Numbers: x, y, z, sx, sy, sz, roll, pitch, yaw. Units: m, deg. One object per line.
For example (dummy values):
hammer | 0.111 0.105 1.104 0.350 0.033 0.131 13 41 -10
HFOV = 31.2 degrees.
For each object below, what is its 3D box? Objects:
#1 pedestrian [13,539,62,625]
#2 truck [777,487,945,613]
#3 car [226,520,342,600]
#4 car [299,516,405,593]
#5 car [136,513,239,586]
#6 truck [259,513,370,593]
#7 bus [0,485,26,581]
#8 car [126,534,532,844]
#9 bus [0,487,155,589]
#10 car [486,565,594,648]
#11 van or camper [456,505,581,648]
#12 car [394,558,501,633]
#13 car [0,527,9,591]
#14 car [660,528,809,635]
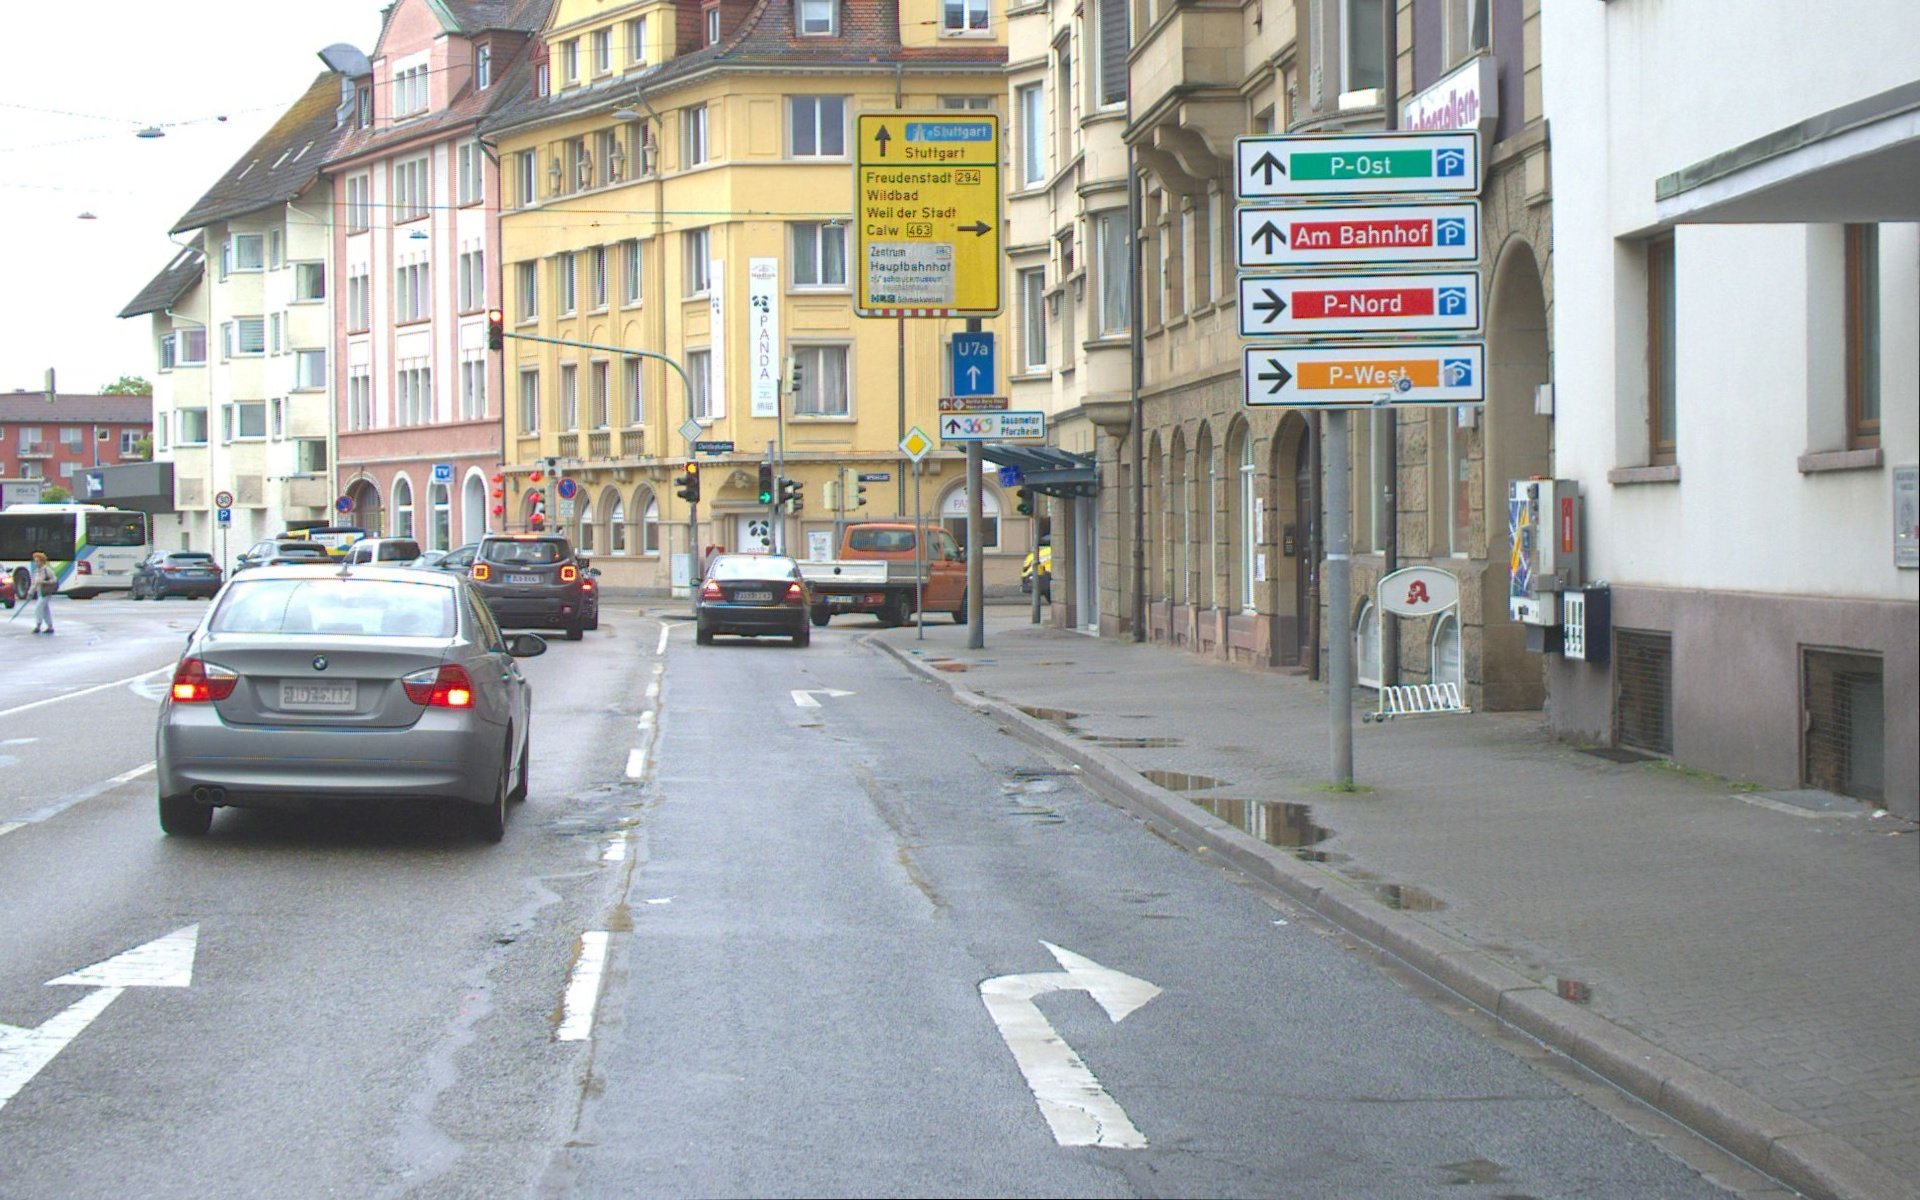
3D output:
pedestrian | -16.663 -0.321 62.105 0.760 1.524 0.508 1 0 -25
truck | -1.790 -0.940 64.084 2.225 2.242 5.061 1 1 9
car | -17.485 -1.044 88.773 1.993 2.007 4.001 -1 1 -26
car | -18.047 -1.364 101.931 1.761 2.173 4.000 2 0 -30
car | -22.144 -1.453 98.419 1.993 2.007 4.001 -1 1 -26
truck | -20.219 -1.489 107.579 2.026 2.381 4.237 2 0 -30
bus | -35.135 -2.123 112.508 8.853 3.094 2.915 0 1 23
car | -3.309 0.393 18.758 1.799 1.459 4.372 1 1 -6
bus | -29.246 -1.944 108.569 9.137 3.094 2.911 1 2 44
car | -7.433 0.099 60.586 1.802 1.401 4.685 0 0 -8
van or camper | -6.898 -0.394 53.677 1.854 2.139 4.144 0 1 -8
car | -12.844 -0.136 86.348 1.993 1.809 4.000 -1 0 1
car | -26.601 -1.104 91.398 1.844 1.678 4.001 0 1 -26
car | -3.470 -0.283 52.280 1.799 1.558 4.001 0 0 -11
